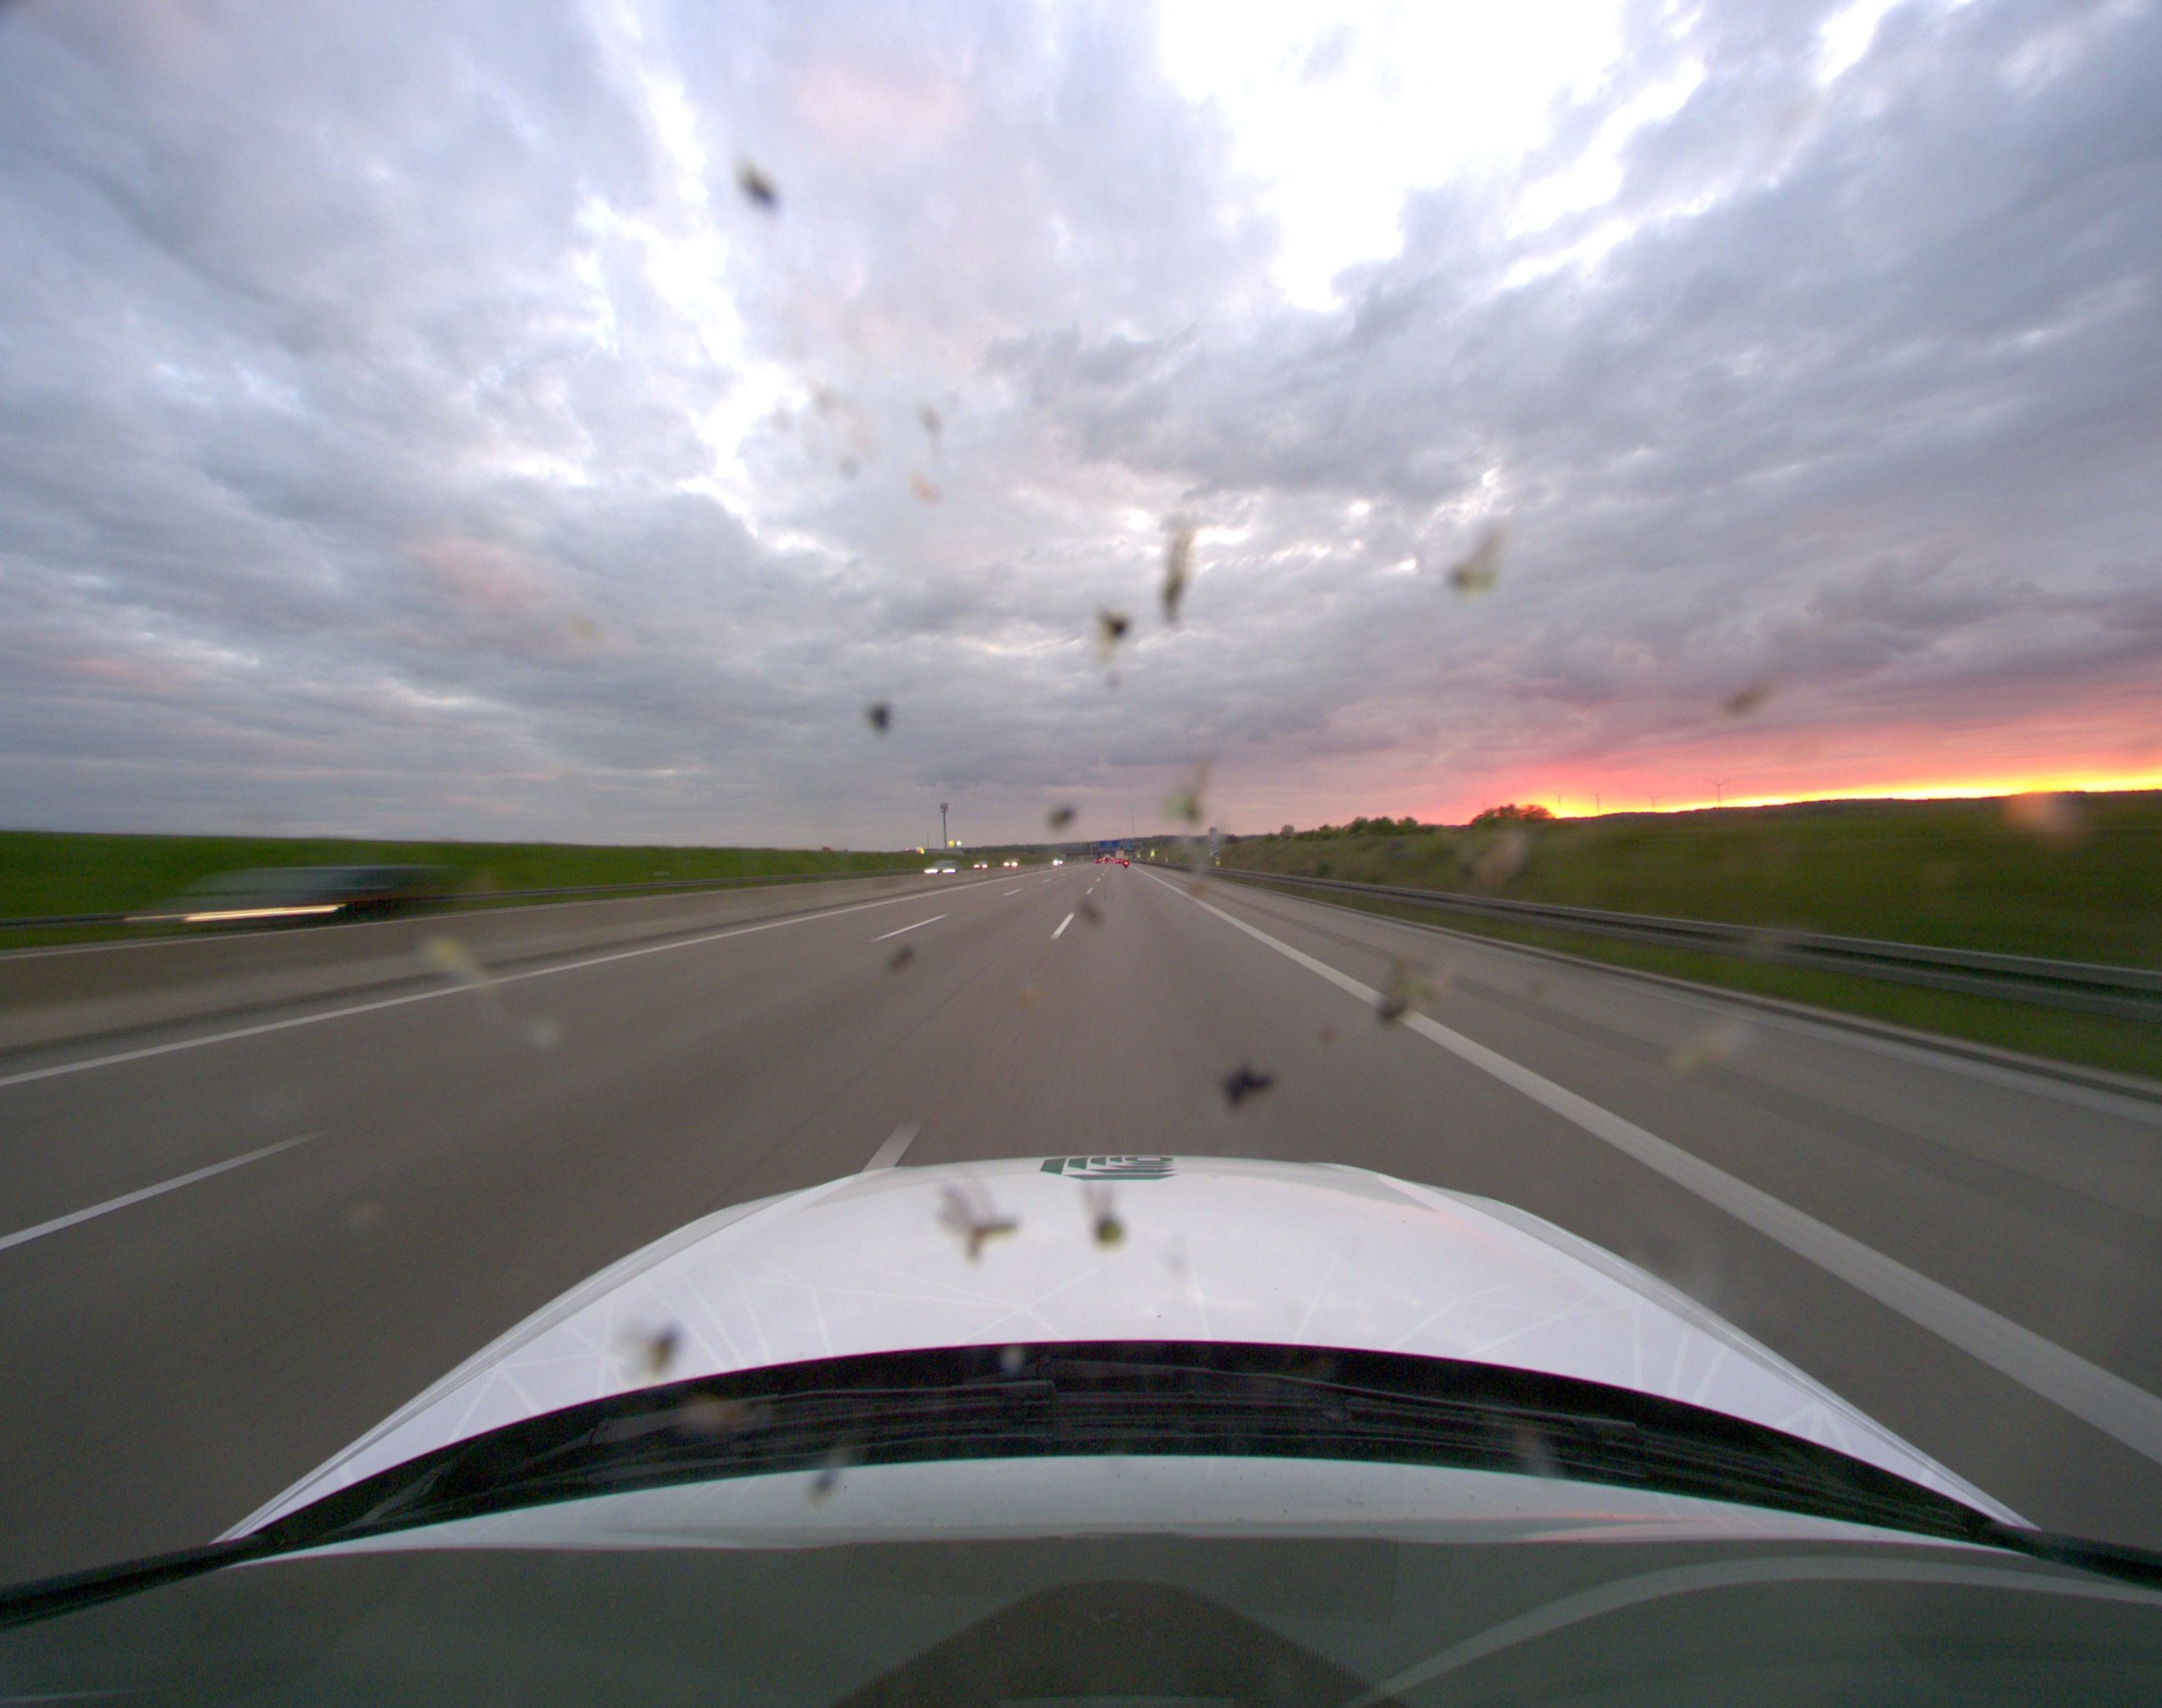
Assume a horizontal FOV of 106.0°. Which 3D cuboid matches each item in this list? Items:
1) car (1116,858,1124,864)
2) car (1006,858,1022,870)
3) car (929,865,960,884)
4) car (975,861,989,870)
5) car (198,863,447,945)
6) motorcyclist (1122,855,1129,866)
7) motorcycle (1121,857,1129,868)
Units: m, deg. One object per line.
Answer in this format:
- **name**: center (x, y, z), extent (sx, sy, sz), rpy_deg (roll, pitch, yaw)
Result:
- **car**: center (10.838, 1.907, 227.019), extent (1.911, 1.579, 4.001), rpy_deg (-2, 0, 1)
- **car**: center (-11.578, 1.704, 140.907), extent (1.995, 2.013, 5.739), rpy_deg (-2, 0, 2)
- **car**: center (-11.893, 1.768, 71.235), extent (1.805, 1.435, 4.671), rpy_deg (-2, 0, 1)
- **car**: center (-16.377, 1.906, 134.475), extent (1.624, 1.517, 4.428), rpy_deg (-1, 0, 2)
- **car**: center (-20.589, 1.265, 22.513), extent (1.986, 1.936, 5.092), rpy_deg (-1, 0, 2)
- **motorcyclist**: center (5.731, 0.820, 105.540), extent (0.862, 1.487, 1.169), rpy_deg (0, 0, 4)
- **motorcycle**: center (5.718, 1.057, 105.609), extent (0.898, 1.346, 2.350), rpy_deg (-2, 0, 3)
